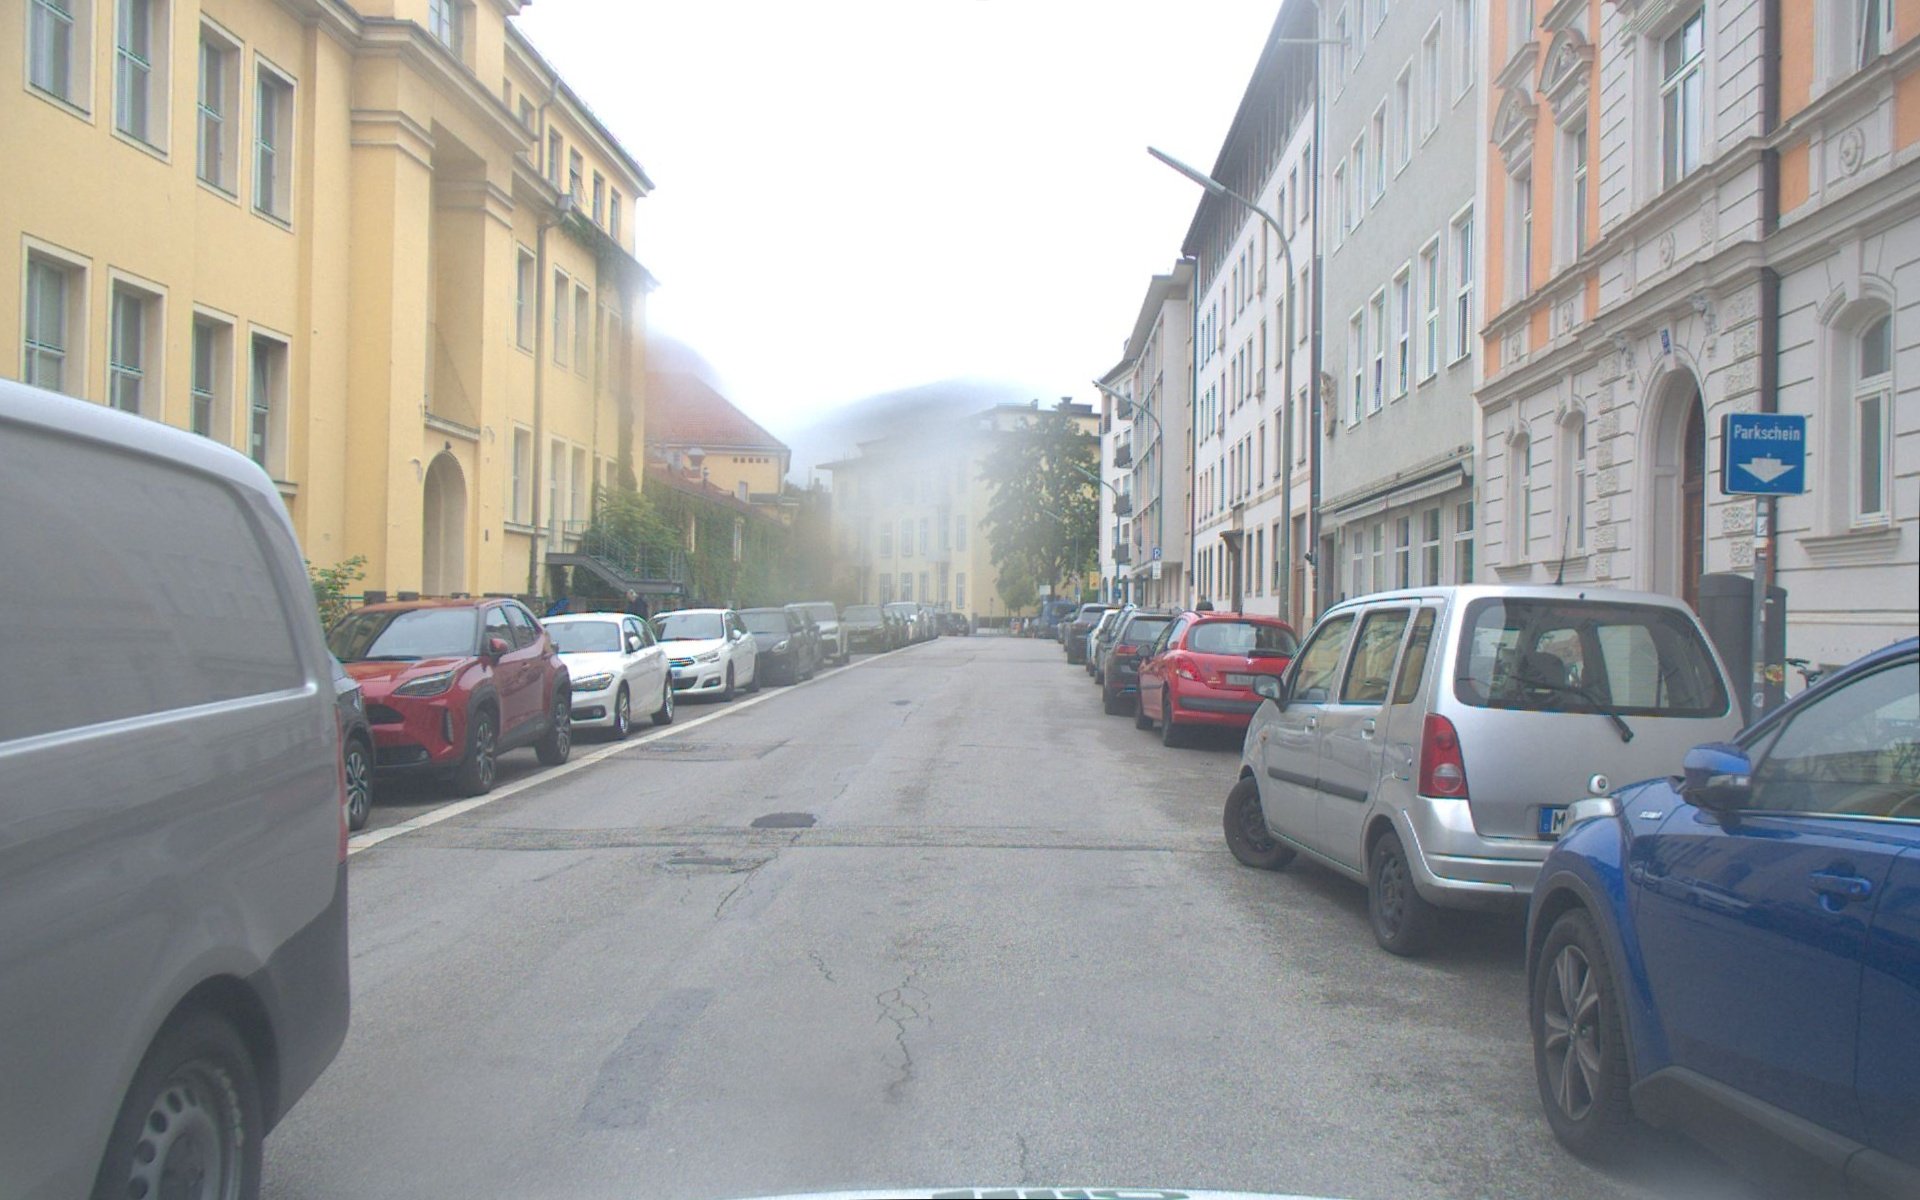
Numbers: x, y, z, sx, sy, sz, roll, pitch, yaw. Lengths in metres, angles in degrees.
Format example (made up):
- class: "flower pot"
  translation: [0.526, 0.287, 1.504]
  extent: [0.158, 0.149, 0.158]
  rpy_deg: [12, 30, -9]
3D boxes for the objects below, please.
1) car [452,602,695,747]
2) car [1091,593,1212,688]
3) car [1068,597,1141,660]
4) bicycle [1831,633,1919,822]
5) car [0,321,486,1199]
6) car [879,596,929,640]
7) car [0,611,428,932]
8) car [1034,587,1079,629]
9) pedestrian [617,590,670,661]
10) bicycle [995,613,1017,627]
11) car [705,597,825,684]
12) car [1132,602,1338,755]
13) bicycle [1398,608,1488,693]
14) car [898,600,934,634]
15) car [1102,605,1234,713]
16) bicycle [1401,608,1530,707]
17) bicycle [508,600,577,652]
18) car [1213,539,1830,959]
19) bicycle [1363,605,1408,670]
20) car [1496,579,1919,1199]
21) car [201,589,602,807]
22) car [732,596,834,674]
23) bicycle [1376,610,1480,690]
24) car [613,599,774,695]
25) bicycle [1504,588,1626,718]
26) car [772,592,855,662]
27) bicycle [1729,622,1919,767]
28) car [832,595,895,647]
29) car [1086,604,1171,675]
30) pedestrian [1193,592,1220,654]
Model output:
- class: "car"
  translation: [-4.519, 0.818, 20.074]
  extent: [1.757, 1.454, 4.665]
  rpy_deg: [-3, 0, 0]
- class: "car"
  translation: [3.535, 0.708, 31.204]
  extent: [1.671, 1.620, 4.361]
  rpy_deg: [1, 0, -1]
- class: "car"
  translation: [3.844, 0.744, 44.661]
  extent: [1.801, 1.549, 4.711]
  rpy_deg: [1, 0, 3]
- class: "bicycle"
  translation: [6.216, 0.787, 9.997]
  extent: [0.709, 1.132, 1.992]
  rpy_deg: [0, 0, -6]
- class: "car"
  translation: [-2.282, 0.550, 1.878]
  extent: [1.876, 1.881, 5.321]
  rpy_deg: [0, 0, 1]
- class: "car"
  translation: [-2.582, 0.841, 77.212]
  extent: [1.848, 1.922, 4.775]
  rpy_deg: [-3, -1, 3]
- class: "car"
  translation: [-4.673, 0.822, 9.722]
  extent: [1.714, 1.429, 4.353]
  rpy_deg: [-3, 0, -1]
- class: "car"
  translation: [5.956, 0.535, 102.919]
  extent: [2.038, 2.273, 5.239]
  rpy_deg: [4, -3, -4]
- class: "pedestrian"
  translation: [-7.908, 0.636, 41.364]
  extent: [0.882, 1.749, 1.059]
  rpy_deg: [-1, 0, 18]
- class: "bicycle"
  translation: [3.869, 1.698, 140.507]
  extent: [1.891, 1.222, 0.592]
  rpy_deg: [0, -1, 39]
- class: "car"
  translation: [-3.802, 0.765, 32.874]
  extent: [1.664, 1.523, 4.150]
  rpy_deg: [-4, -1, 2]
- class: "car"
  translation: [3.115, 0.832, 19.502]
  extent: [1.653, 1.526, 4.146]
  rpy_deg: [2, 0, -1]
- class: "bicycle"
  translation: [6.771, 0.685, 23.143]
  extent: [0.610, 1.108, 1.807]
  rpy_deg: [-1, 0, 36]
- class: "car"
  translation: [-2.310, 0.890, 87.517]
  extent: [1.662, 1.671, 4.490]
  rpy_deg: [-3, -1, 1]
- class: "car"
  translation: [3.004, 0.811, 24.549]
  extent: [1.652, 1.426, 4.365]
  rpy_deg: [1, 0, 3]
- class: "bicycle"
  translation: [6.393, 0.701, 20.868]
  extent: [2.074, 1.159, 0.575]
  rpy_deg: [-1, 0, -42]
- class: "bicycle"
  translation: [-10.468, 0.649, 41.505]
  extent: [1.592, 1.290, 0.527]
  rpy_deg: [-1, 0, 3]
- class: "car"
  translation: [2.635, 0.629, 8.749]
  extent: [1.648, 1.702, 3.800]
  rpy_deg: [2, 0, -5]
- class: "bicycle"
  translation: [7.929, 0.682, 30.857]
  extent: [0.376, 1.178, 1.950]
  rpy_deg: [0, 0, 2]
- class: "car"
  translation: [2.640, 0.730, 3.455]
  extent: [1.706, 1.520, 4.549]
  rpy_deg: [1, 0, 2]
- class: "car"
  translation: [-4.581, 0.734, 14.382]
  extent: [1.918, 1.508, 4.529]
  rpy_deg: [-3, 0, 0]
- class: "car"
  translation: [-3.994, 0.775, 37.994]
  extent: [1.669, 1.528, 4.495]
  rpy_deg: [-5, -1, 1]
- class: "bicycle"
  translation: [6.730, 0.703, 23.741]
  extent: [1.831, 1.086, 0.508]
  rpy_deg: [-1, 0, -41]
- class: "car"
  translation: [-4.346, 0.733, 27.655]
  extent: [1.747, 1.457, 4.653]
  rpy_deg: [0, 0, 2]
- class: "bicycle"
  translation: [6.913, 0.570, 18.996]
  extent: [0.583, 1.409, 2.091]
  rpy_deg: [-1, 0, -1]
- class: "car"
  translation: [-3.752, 0.668, 42.957]
  extent: [1.710, 1.662, 4.856]
  rpy_deg: [-1, 0, 0]
- class: "bicycle"
  translation: [6.919, 0.720, 13.304]
  extent: [0.583, 1.042, 1.817]
  rpy_deg: [-1, 0, -1]
- class: "car"
  translation: [-3.260, 0.710, 56.578]
  extent: [1.752, 1.614, 4.818]
  rpy_deg: [-3, 0, 0]
- class: "car"
  translation: [3.749, 0.852, 37.396]
  extent: [1.638, 1.454, 4.531]
  rpy_deg: [2, 0, 2]
- class: "pedestrian"
  translation: [7.322, 0.699, 49.075]
  extent: [0.708, 1.794, 0.905]
  rpy_deg: [0, -3, 3]
